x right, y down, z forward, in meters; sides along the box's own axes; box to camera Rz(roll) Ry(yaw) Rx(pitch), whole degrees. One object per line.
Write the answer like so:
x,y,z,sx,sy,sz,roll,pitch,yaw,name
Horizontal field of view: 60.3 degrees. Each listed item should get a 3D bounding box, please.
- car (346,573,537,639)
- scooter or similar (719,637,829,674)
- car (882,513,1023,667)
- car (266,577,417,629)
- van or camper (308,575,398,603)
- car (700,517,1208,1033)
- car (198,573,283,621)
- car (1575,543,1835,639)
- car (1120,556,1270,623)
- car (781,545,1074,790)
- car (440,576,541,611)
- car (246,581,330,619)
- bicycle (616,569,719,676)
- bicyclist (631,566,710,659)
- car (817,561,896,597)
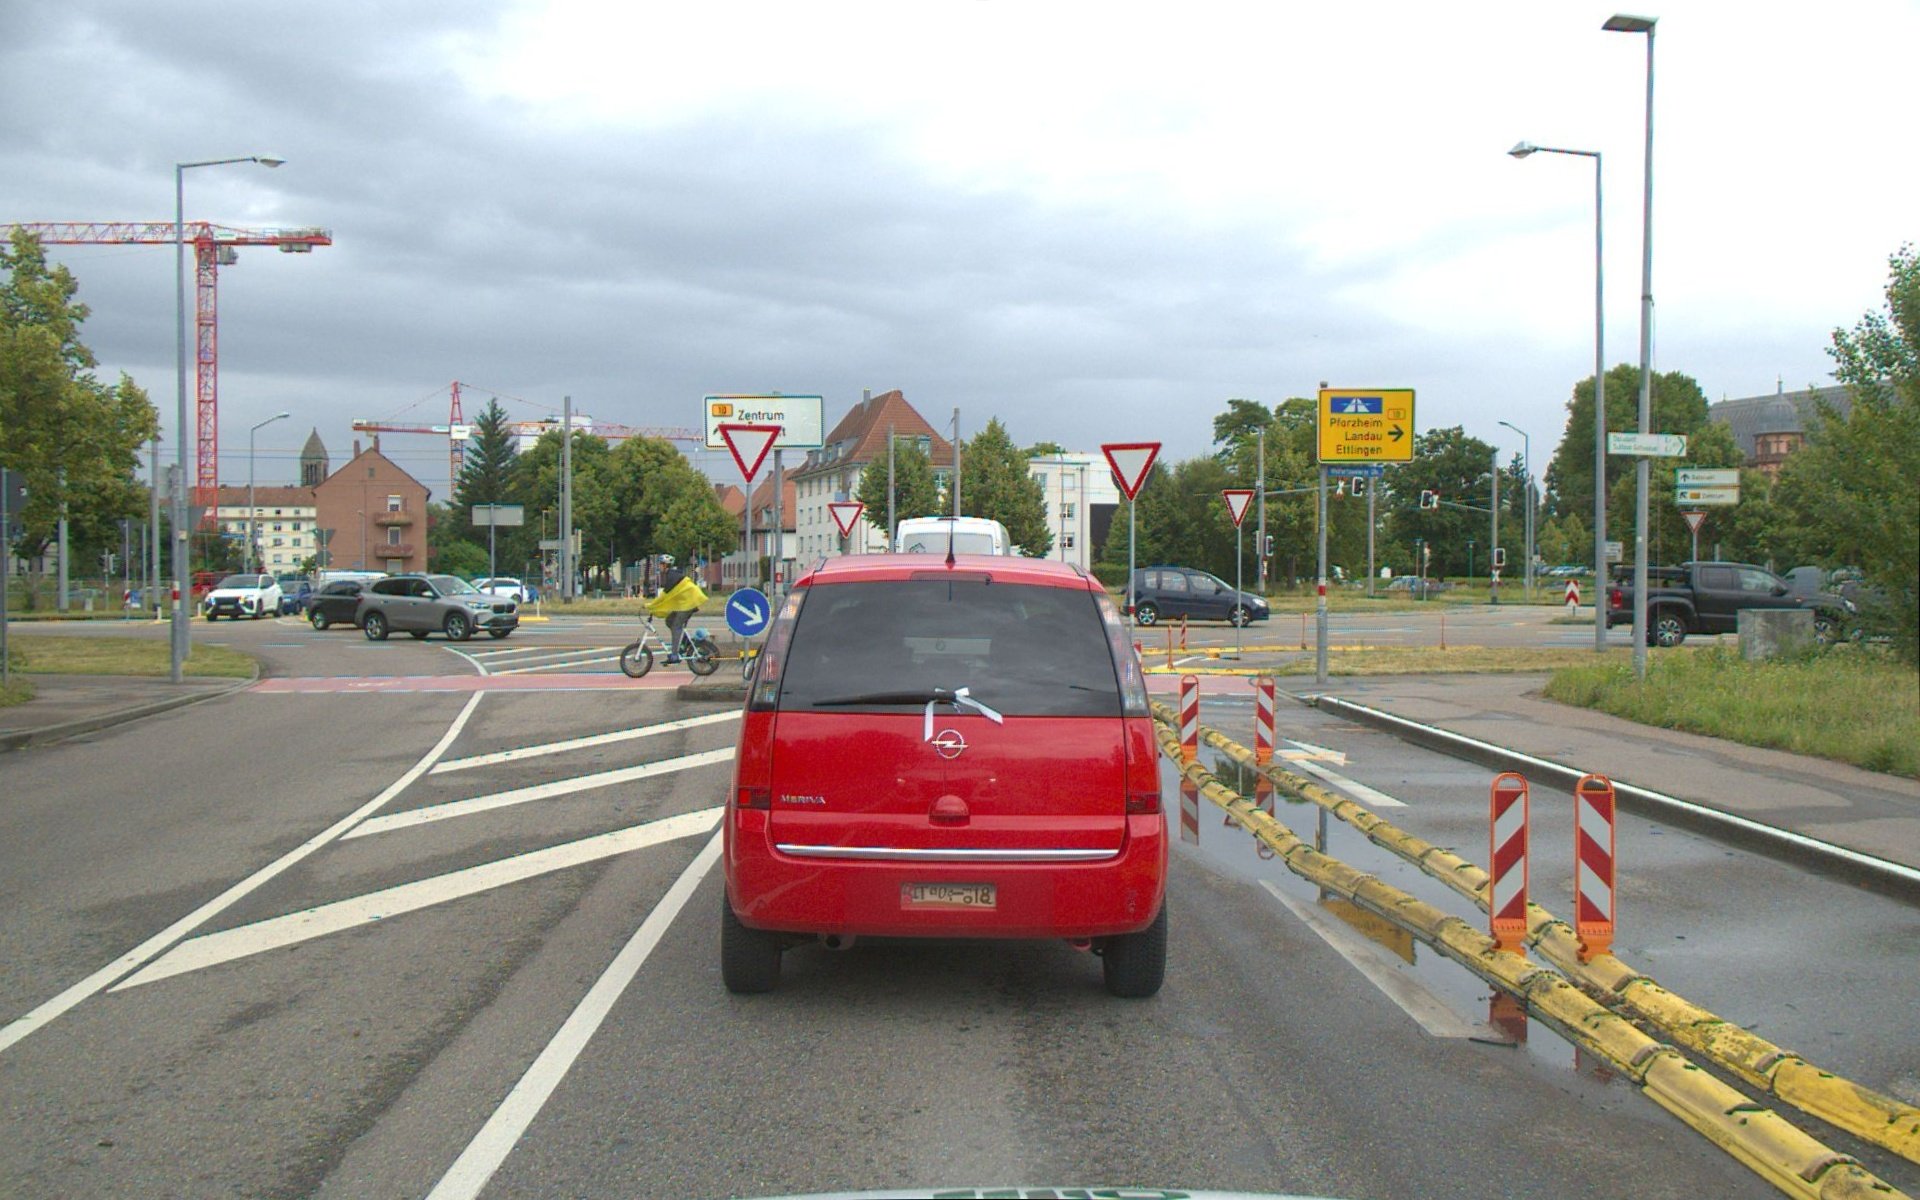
-13.294,0.138,42.410,4.425,1.610,2.000,0,1,23,car
-2.877,0.853,25.708,1.574,0.513,0.925,0,1,2,scooter or similar
-0.035,-0.208,30.649,2.149,2.584,4.965,1,1,5,car
-18.781,0.075,50.224,4.225,1.489,1.997,0,1,28,car
-45.013,-0.801,122.720,6.045,2.049,2.002,0,1,9,van or camper
-0.049,0.550,7.221,1.639,1.669,3.627,1,1,-1,car
-26.989,-0.138,62.199,1.895,1.713,4.181,-1,1,-9,car
16.288,-0.197,36.466,4.919,2.006,2.225,0,1,15,car
6.644,-0.300,46.728,4.105,1.845,2.080,0,1,9,car
-0.263,0.440,13.836,2.018,1.676,4.606,1,1,-1,car
-23.314,-0.347,82.294,1.961,1.663,4.656,0,1,37,car
-27.950,-0.037,68.883,1.891,1.515,4.000,0,1,-1,car
-4.550,0.338,25.764,1.446,1.640,0.606,0,1,15,bicycle
-4.508,0.186,25.753,1.039,1.426,0.615,0,1,15,bicyclist
-6.029,-1.206,96.100,4.387,2.049,1.994,-1,1,-12,car
